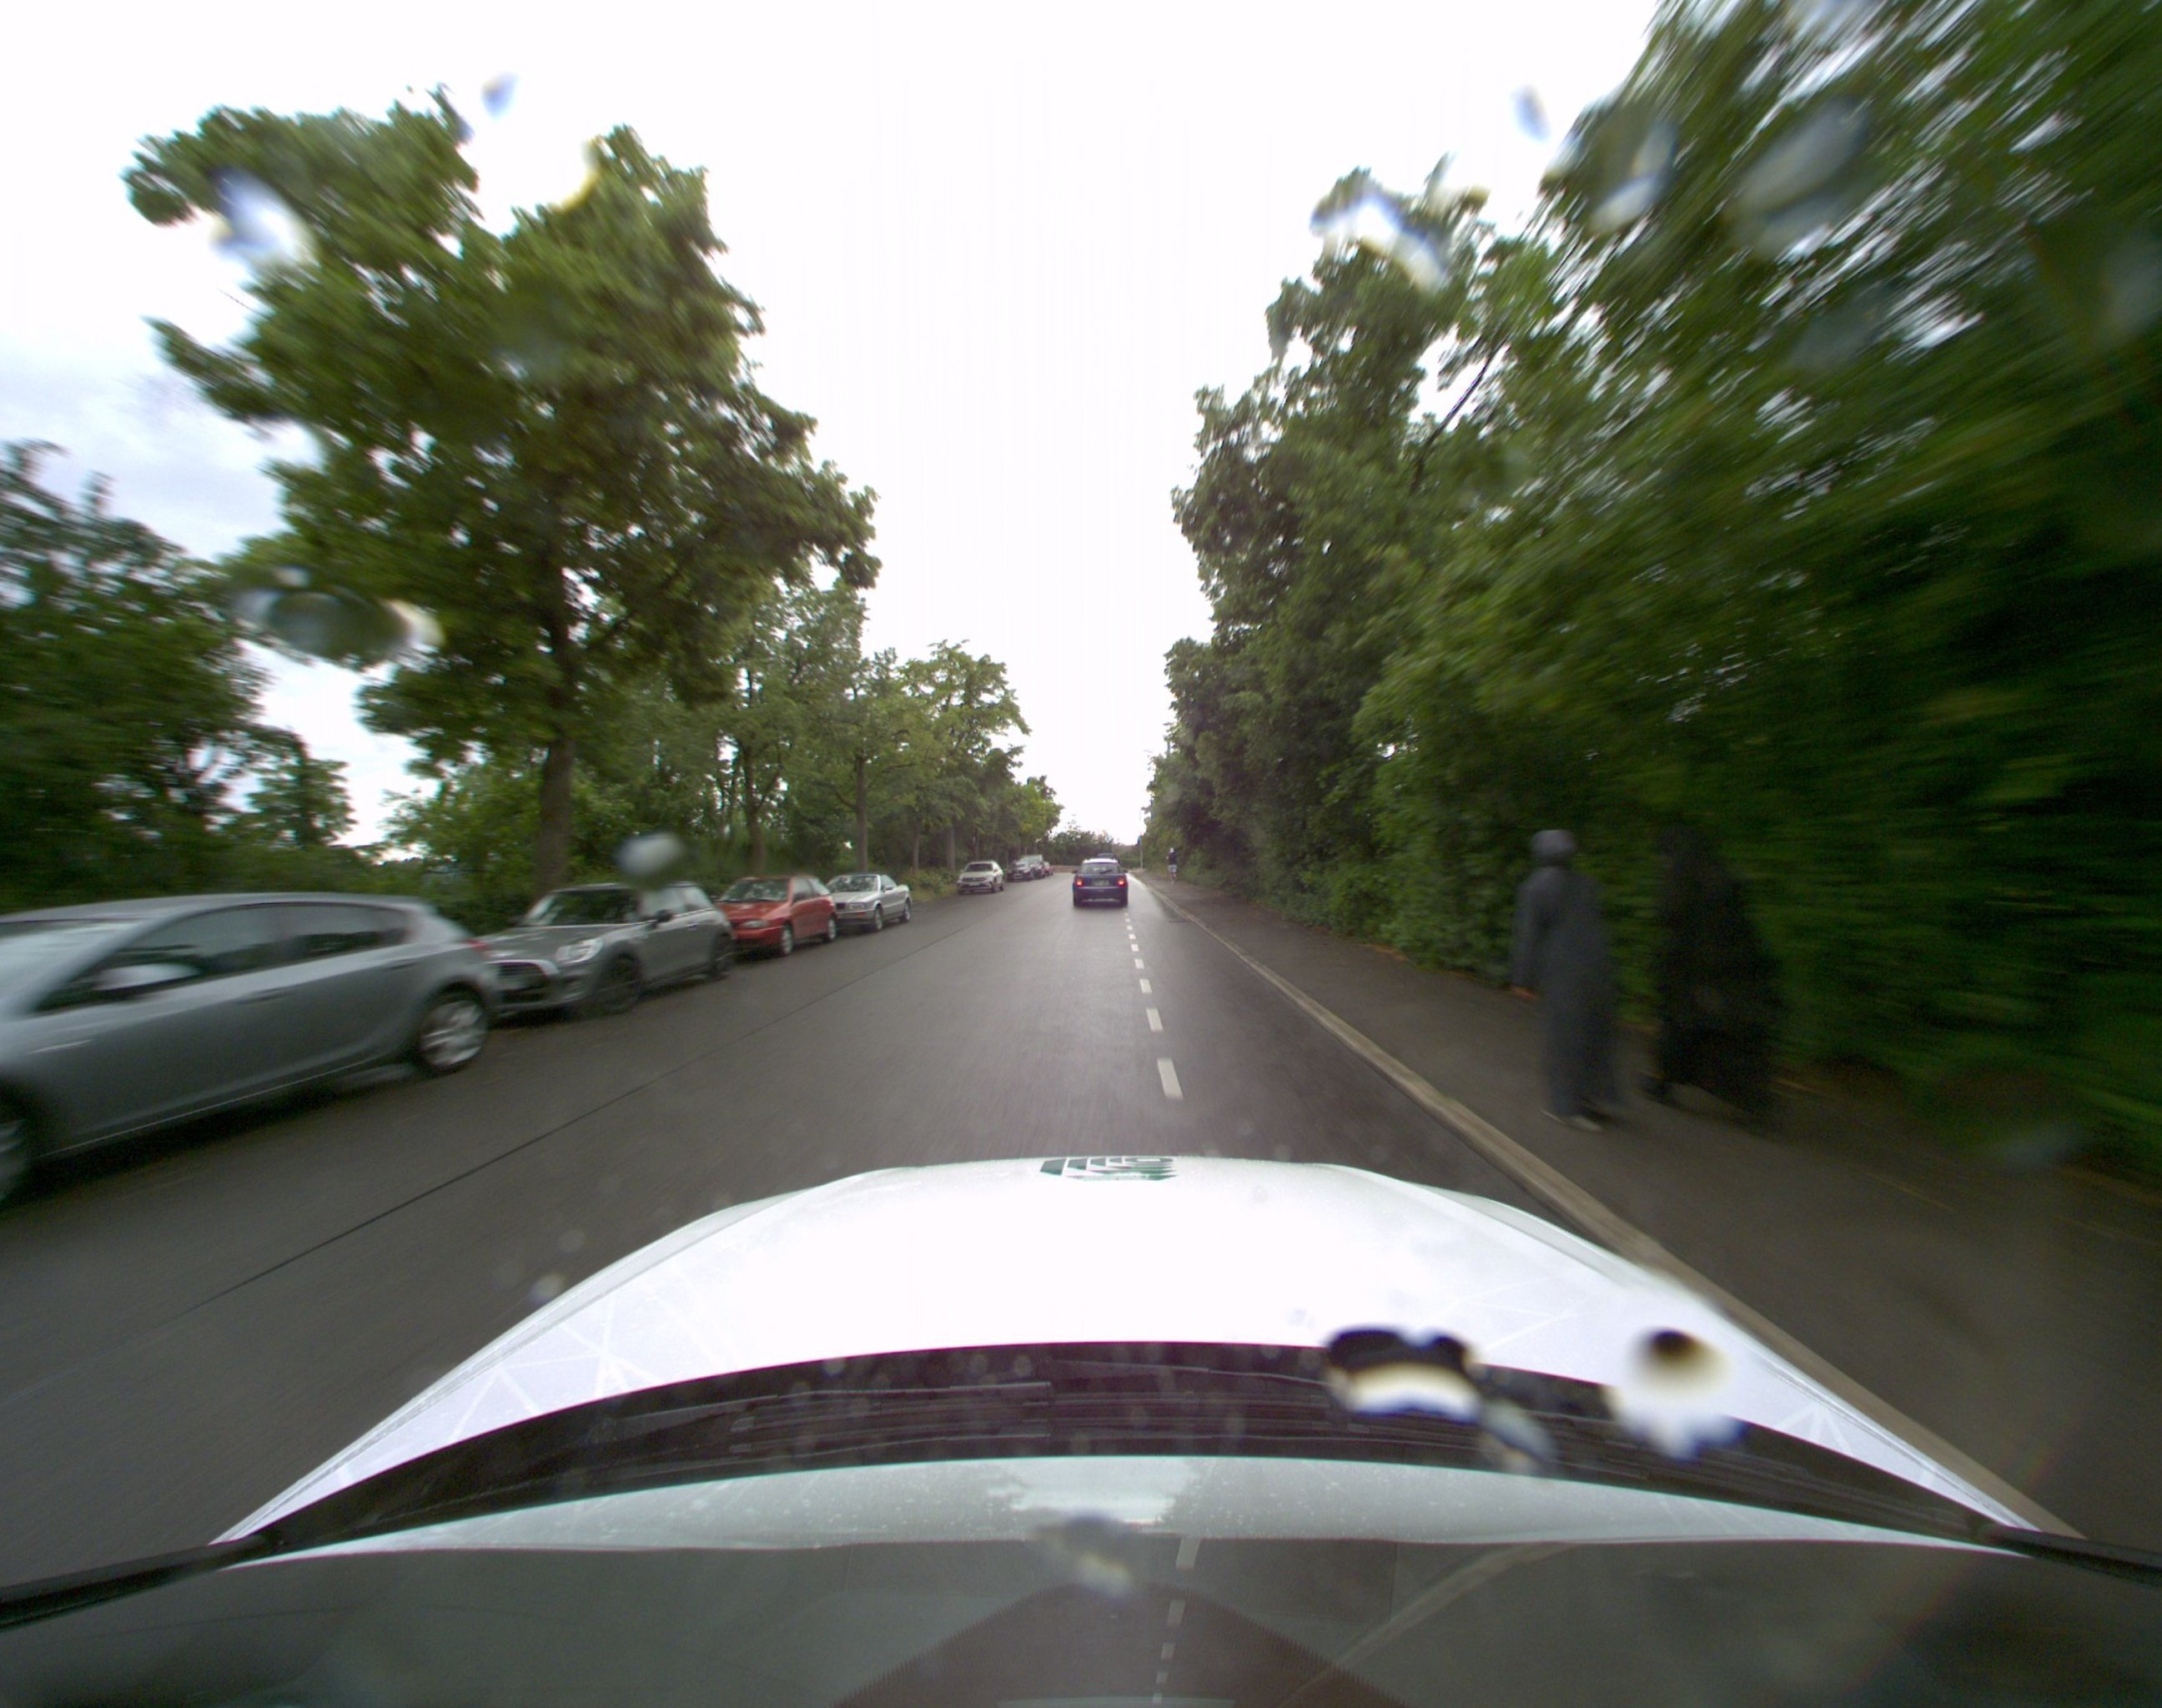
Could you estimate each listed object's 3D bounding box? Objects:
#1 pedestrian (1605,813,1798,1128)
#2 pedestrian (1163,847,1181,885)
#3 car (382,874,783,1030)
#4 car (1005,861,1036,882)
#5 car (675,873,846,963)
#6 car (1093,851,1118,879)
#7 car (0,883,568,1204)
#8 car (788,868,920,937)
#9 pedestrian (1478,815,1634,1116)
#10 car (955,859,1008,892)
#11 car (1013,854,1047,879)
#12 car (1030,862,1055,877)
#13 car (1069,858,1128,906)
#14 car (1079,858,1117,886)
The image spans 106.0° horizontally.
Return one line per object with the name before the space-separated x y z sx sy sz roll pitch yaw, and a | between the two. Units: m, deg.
pedestrian | 3.325 0.577 4.421 0.591 1.566 0.671 -1 1 12
pedestrian | 4.573 0.612 41.018 0.713 1.835 1.022 -4 -1 4
car | -5.903 1.049 10.570 1.984 1.405 4.719 -3 -1 4
car | -4.337 1.246 58.935 1.791 1.437 4.256 -2 -1 1
car | -5.779 1.082 15.218 1.590 1.362 3.999 -2 -1 -1
car | 1.845 0.810 61.847 1.783 1.953 4.000 1 2 0
car | -5.936 0.998 5.233 1.984 1.405 4.719 -3 -1 4
car | -5.301 1.074 19.663 1.748 1.402 4.421 -2 -1 2
pedestrian | 2.613 0.592 4.529 0.548 1.566 0.488 -3 -1 12
car | -4.731 1.025 39.152 1.681 1.437 4.260 -2 -1 4
car | -4.019 0.988 64.909 2.075 1.819 5.384 -2 -1 3
car | -3.620 1.412 76.426 1.781 1.297 4.330 -2 -1 4
car | 0.557 0.859 26.614 1.741 1.407 4.000 -1 0 1
car | 0.965 0.940 44.285 1.883 1.389 4.003 -2 -1 3
